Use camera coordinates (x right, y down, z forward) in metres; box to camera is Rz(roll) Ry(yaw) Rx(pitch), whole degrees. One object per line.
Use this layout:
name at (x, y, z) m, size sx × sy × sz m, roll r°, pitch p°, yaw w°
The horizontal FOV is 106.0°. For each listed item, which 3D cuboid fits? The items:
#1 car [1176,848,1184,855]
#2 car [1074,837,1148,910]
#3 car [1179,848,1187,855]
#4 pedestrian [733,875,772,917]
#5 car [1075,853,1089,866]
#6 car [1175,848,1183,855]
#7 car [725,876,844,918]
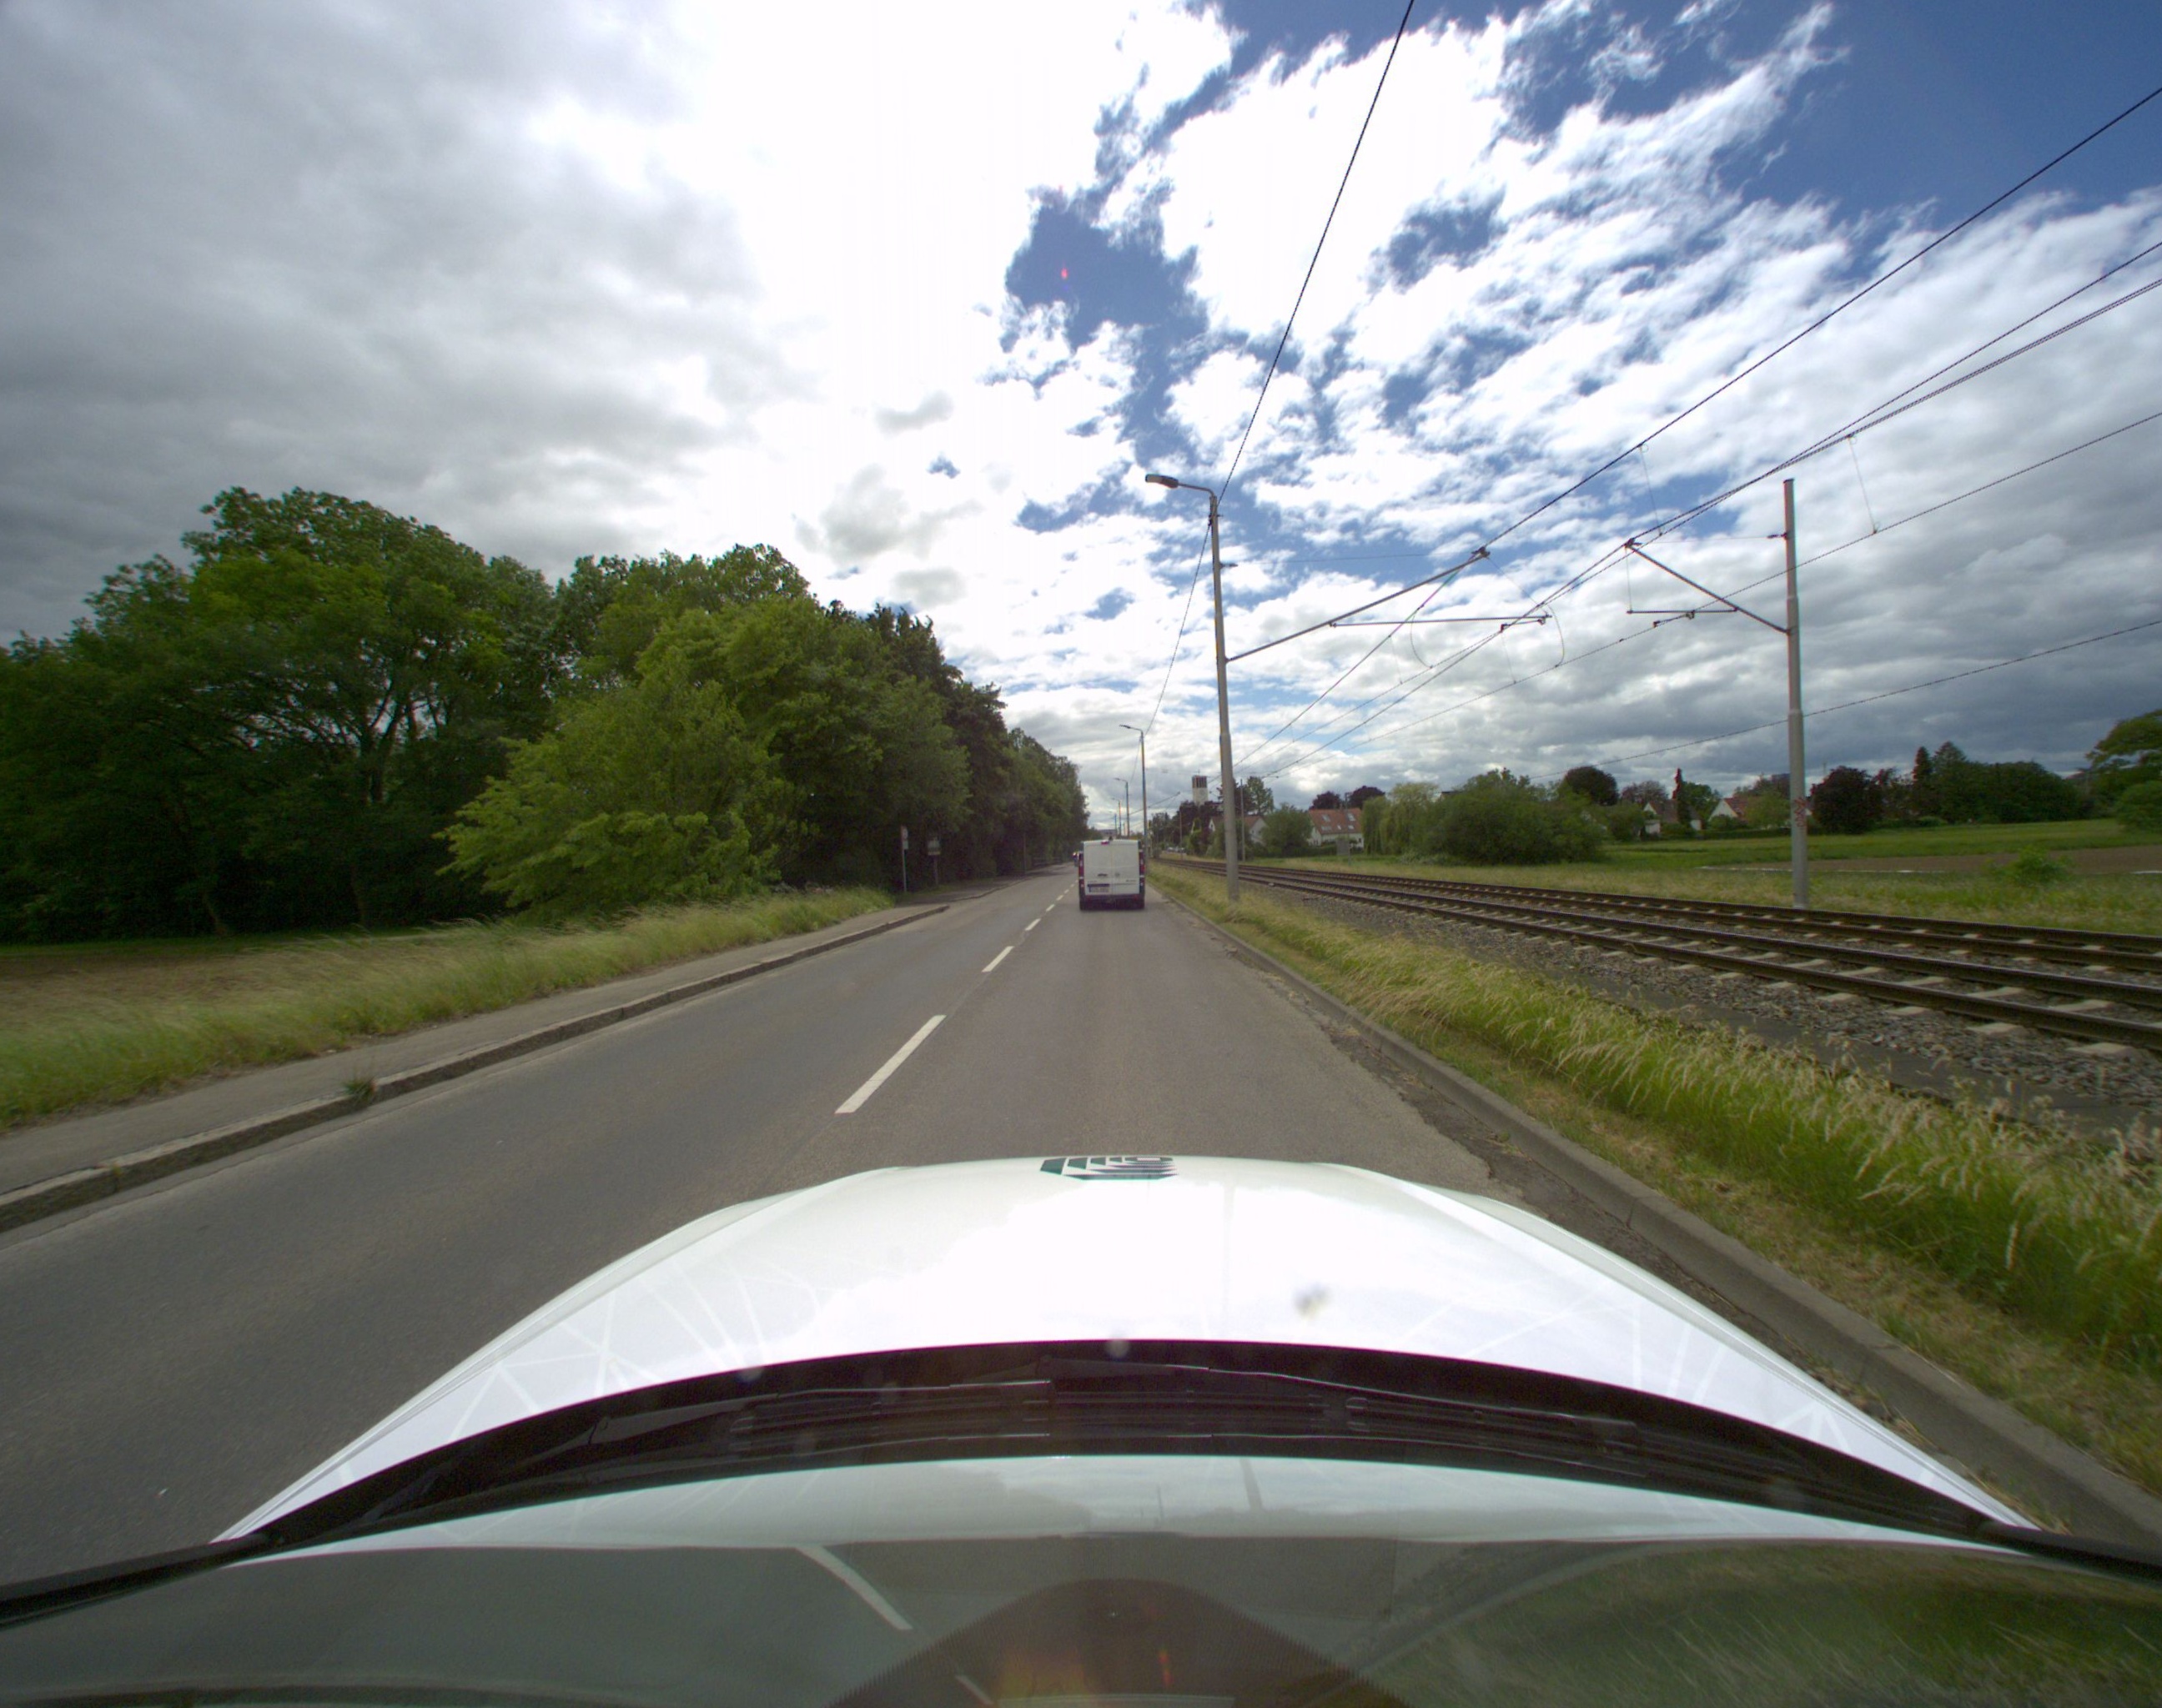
car at (29.555, -0.663, 243.381) m, size 1.987 × 1.816 × 3.999 m, roll 0°, pitch -2°, yaw 0°
car at (0.836, 0.526, 24.091) m, size 1.987 × 1.957 × 4.000 m, roll -1°, pitch 0°, yaw 0°
car at (29.727, -0.738, 237.338) m, size 1.987 × 1.717 × 3.999 m, roll 0°, pitch -2°, yaw 0°
pedestrian at (-12.560, 1.601, 31.155) m, size 1.032 × 1.530 × 0.942 m, roll -3°, pitch -1°, yaw 2°
car at (0.191, 0.831, 119.509) m, size 1.987 × 1.717 × 4.123 m, roll -2°, pitch 0°, yaw 0°
car at (29.663, -0.709, 247.727) m, size 1.987 × 2.014 × 3.999 m, roll 0°, pitch -2°, yaw 0°
car at (-11.785, 1.709, 32.518) m, size 3.970 × 1.299 × 1.746 m, roll -5°, pitch -1°, yaw 3°
